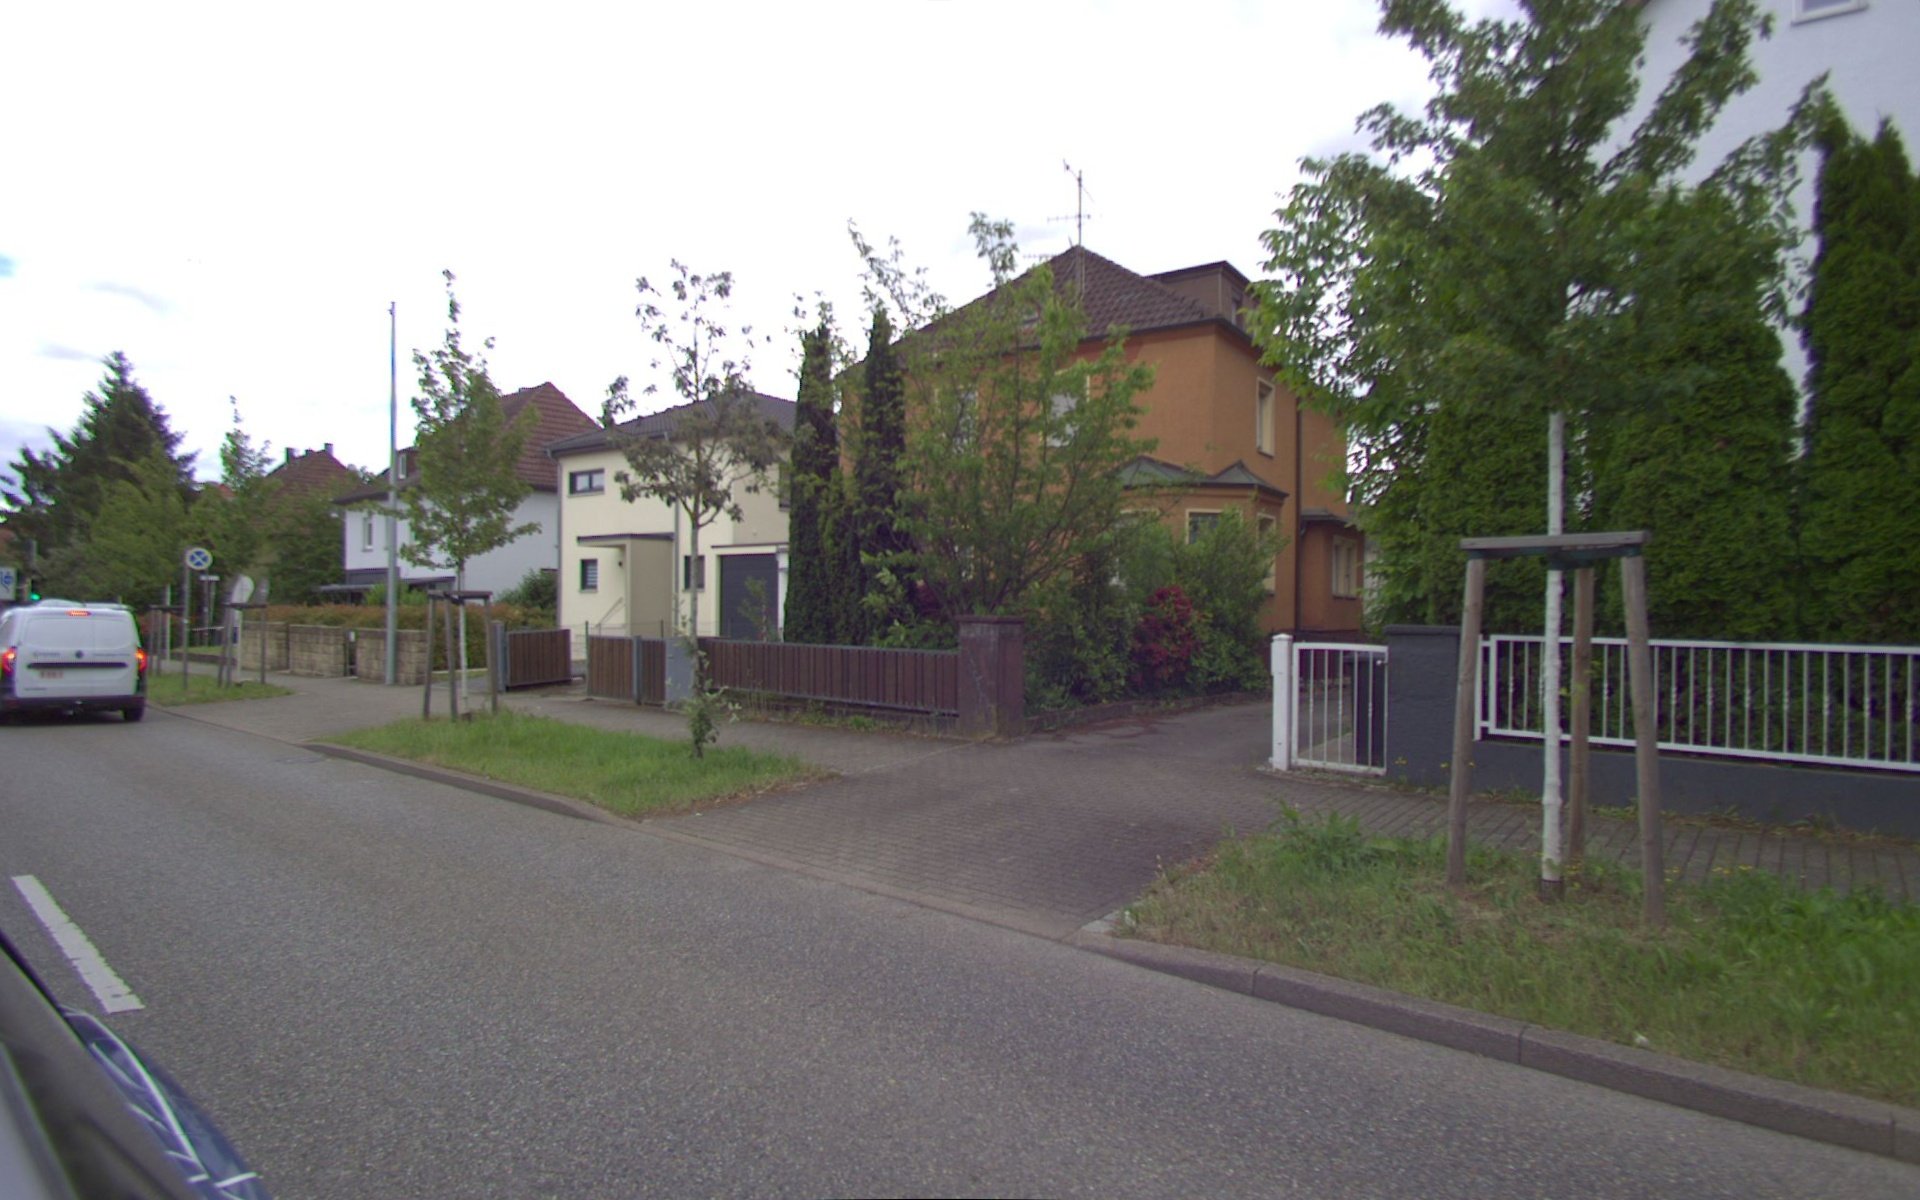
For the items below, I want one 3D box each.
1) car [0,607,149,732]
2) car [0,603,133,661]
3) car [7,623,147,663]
[{"bbox_3d":[-14.735,1.050,16.374,4.296,1.765,1.776,-2,-3,41],"label":"car"},{"bbox_3d":[-42.425,1.496,47.293,5.527,2.583,2.136,3,-2,-31],"label":"car"},{"bbox_3d":[-38.672,1.858,44.513,1.974,1.633,4.643,-1,-1,3],"label":"car"}]
